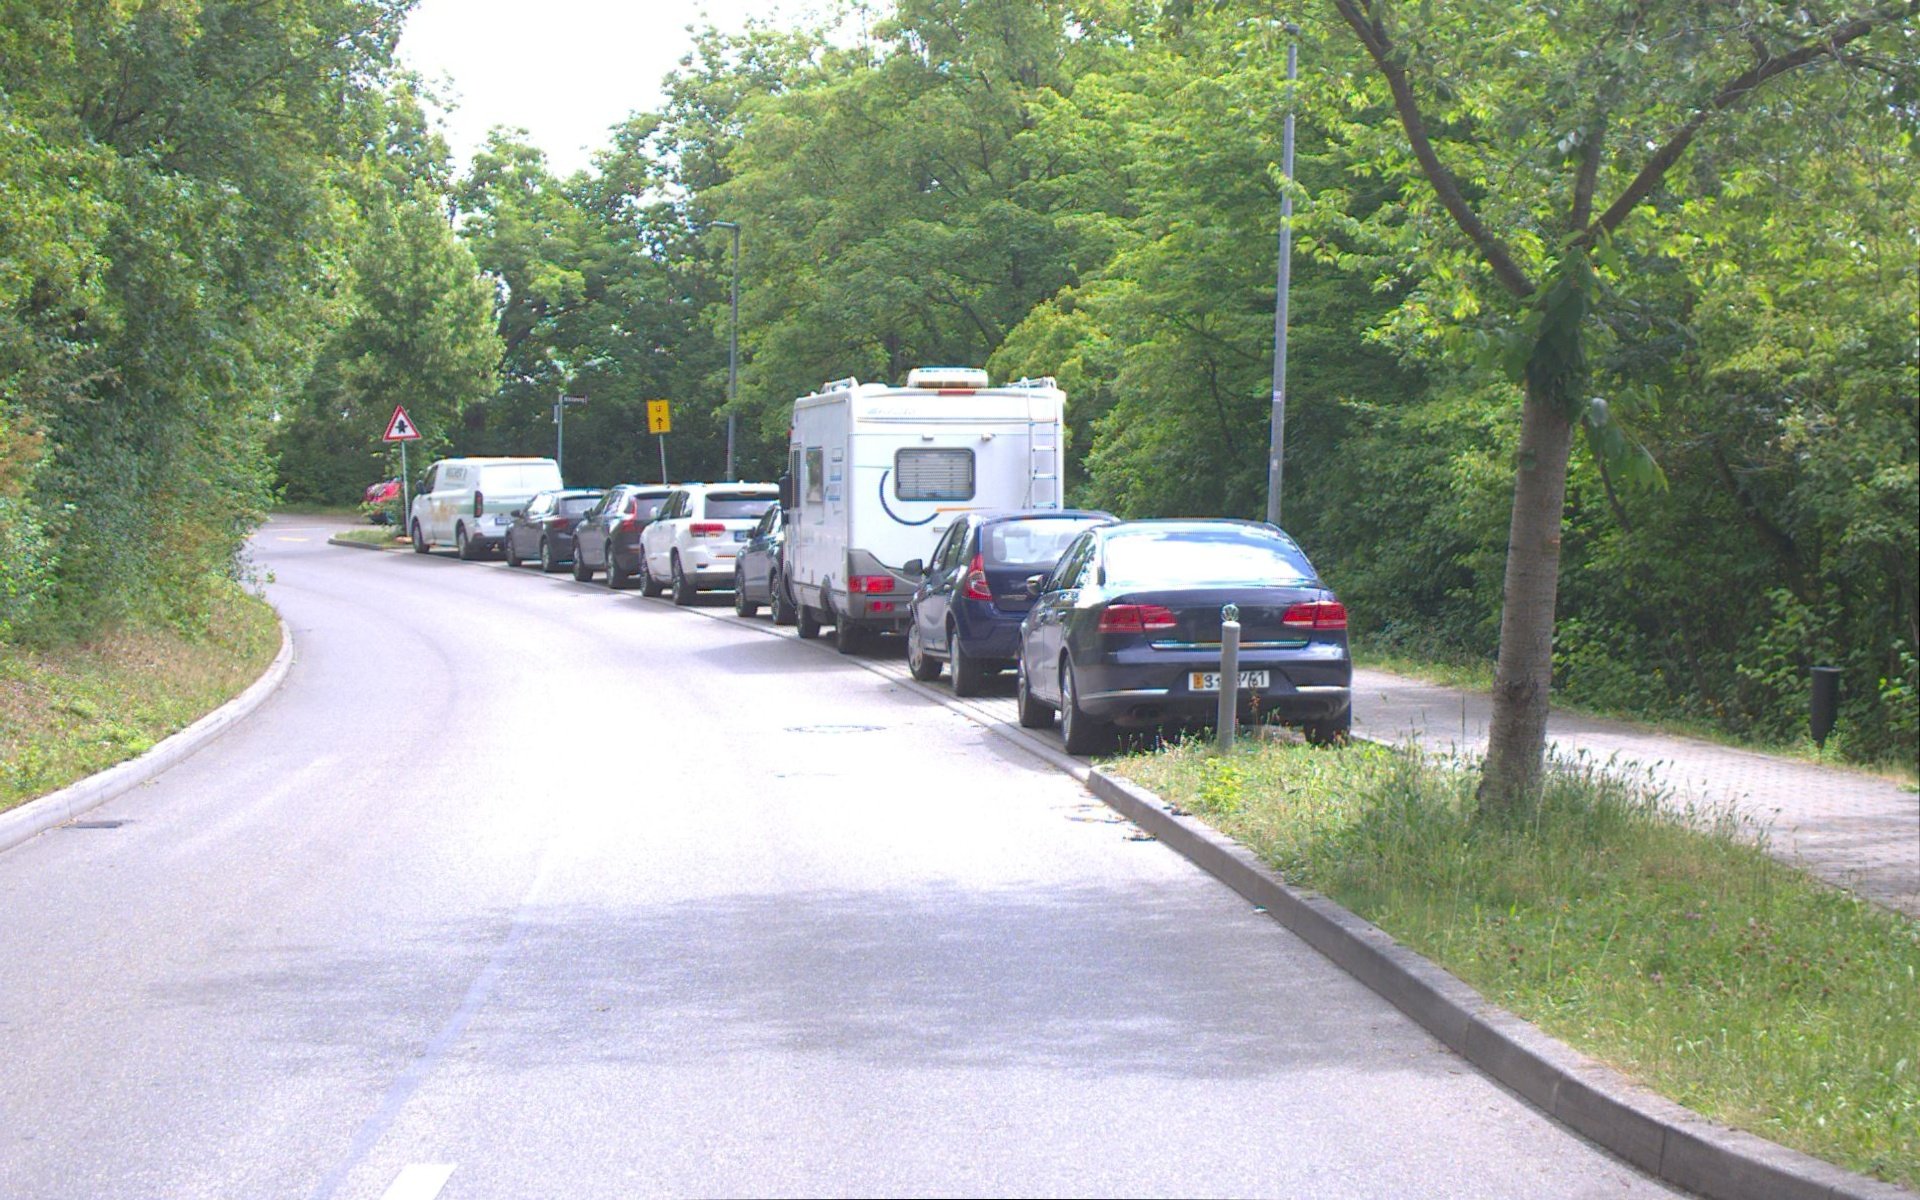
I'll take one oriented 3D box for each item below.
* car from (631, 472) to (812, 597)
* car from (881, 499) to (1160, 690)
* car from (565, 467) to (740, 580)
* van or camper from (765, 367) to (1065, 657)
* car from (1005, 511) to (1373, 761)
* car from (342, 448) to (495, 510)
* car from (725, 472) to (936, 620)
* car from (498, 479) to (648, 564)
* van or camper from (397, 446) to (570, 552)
[{"bbox_3d":[-3.548,-0.992,50.379,1.871,1.683,4.581,1,3,-14],"label":"car"},{"bbox_3d":[0.452,-0.077,29.828,1.728,1.514,3.890,-1,1,-9],"label":"car"},{"bbox_3d":[-5.051,-1.281,56.019,1.993,1.620,4.280,-3,4,-16],"label":"car"},{"bbox_3d":[-0.614,-0.979,37.355,2.332,2.859,6.152,1,2,-9],"label":"van or camper"},{"bbox_3d":[1.402,0.158,22.701,1.775,1.429,4.335,-1,2,-5],"label":"car"},{"bbox_3d":[-13.748,-3.090,87.246,3.535,1.475,1.783,-1,5,-21],"label":"car"},{"bbox_3d":[-1.688,-0.727,43.435,1.710,1.585,4.002,-7,4,-14],"label":"car"},{"bbox_3d":[-7.078,-1.454,62.524,1.797,1.459,4.002,-1,3,-20],"label":"car"},{"bbox_3d":[-9.478,-2.040,68.003,1.993,1.913,5.267,-2,4,-24],"label":"van or camper"}]
